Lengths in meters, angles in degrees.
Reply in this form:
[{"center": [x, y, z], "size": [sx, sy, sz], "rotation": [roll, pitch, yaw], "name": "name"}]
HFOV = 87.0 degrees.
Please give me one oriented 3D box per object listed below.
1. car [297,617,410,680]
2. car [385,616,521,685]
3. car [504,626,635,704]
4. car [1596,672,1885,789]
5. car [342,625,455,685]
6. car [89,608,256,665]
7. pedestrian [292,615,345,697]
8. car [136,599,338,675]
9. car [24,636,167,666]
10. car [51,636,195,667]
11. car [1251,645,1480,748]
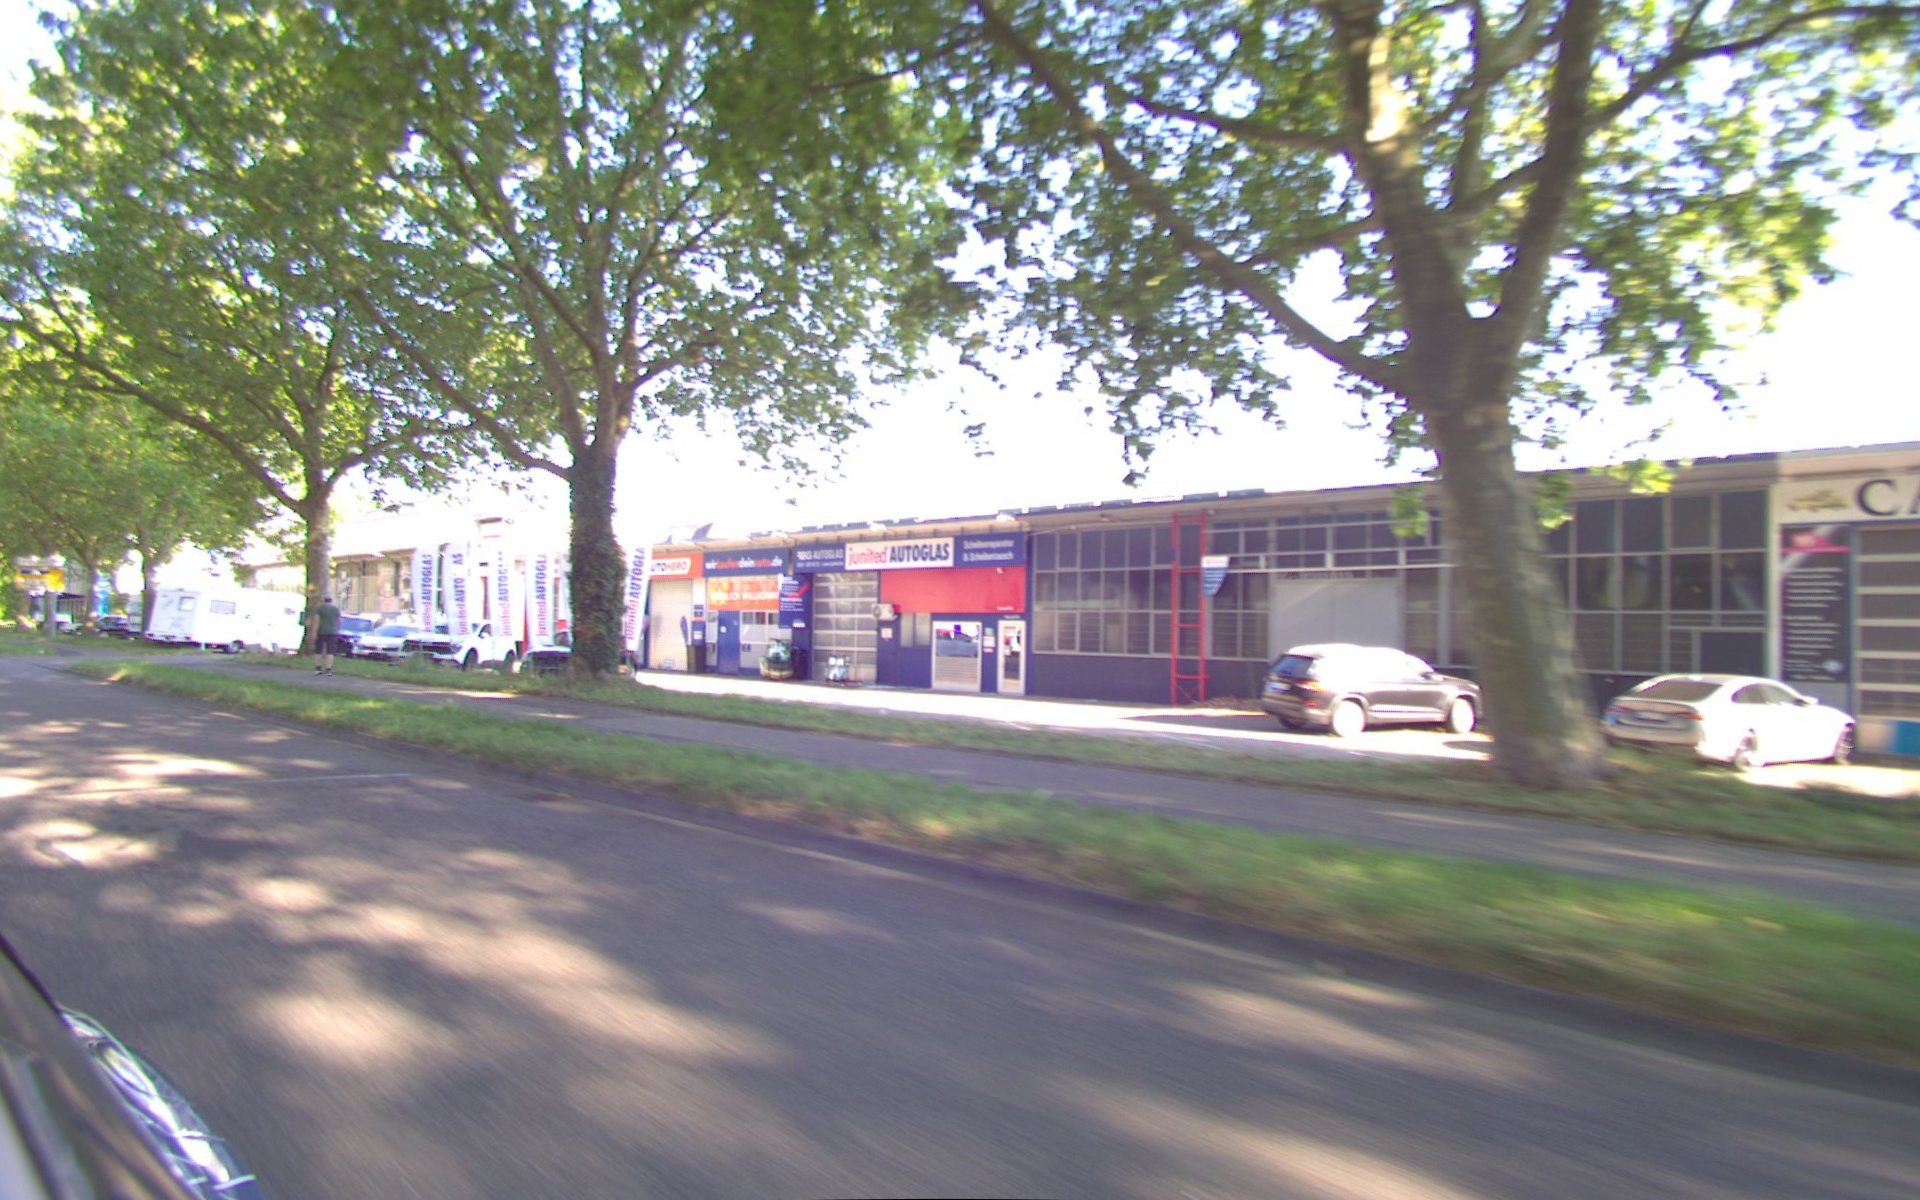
[{"center": [-20.006, 1.526, 33.582], "size": [1.967, 1.854, 4.259], "rotation": [0, 0, -12], "name": "car"}, {"center": [-14.574, 1.390, 29.393], "size": [1.971, 1.764, 4.315], "rotation": [0, 0, -3], "name": "car"}, {"center": [-9.262, 1.495, 24.341], "size": [1.970, 1.586, 3.847], "rotation": [0, 0, -5], "name": "car"}, {"center": [12.697, 2.029, 16.505], "size": [3.930, 1.453, 2.007], "rotation": [0, 0, -22], "name": "car"}, {"center": [-17.163, 1.642, 31.164], "size": [1.967, 1.582, 4.061], "rotation": [0, 0, -12], "name": "car"}, {"center": [-38.888, 1.901, 50.290], "size": [2.574, 2.516, 6.303], "rotation": [0, -5, 11], "name": "car"}, {"center": [-14.662, 1.259, 23.129], "size": [0.940, 1.786, 0.795], "rotation": [0, 0, 43], "name": "pedestrian"}, {"center": [-30.344, 1.694, 42.940], "size": [2.575, 2.875, 6.931], "rotation": [0, -5, 12], "name": "car"}, {"center": [-54.656, 3.265, 64.182], "size": [2.708, 1.693, 6.322], "rotation": [-1, -5, 22], "name": "car"}, {"center": [-51.938, 3.224, 63.016], "size": [2.708, 1.693, 6.373], "rotation": [-1, -5, 22], "name": "car"}, {"center": [8.077, 1.846, 20.196], "size": [3.930, 1.719, 2.007], "rotation": [0, 0, -22], "name": "car"}]
